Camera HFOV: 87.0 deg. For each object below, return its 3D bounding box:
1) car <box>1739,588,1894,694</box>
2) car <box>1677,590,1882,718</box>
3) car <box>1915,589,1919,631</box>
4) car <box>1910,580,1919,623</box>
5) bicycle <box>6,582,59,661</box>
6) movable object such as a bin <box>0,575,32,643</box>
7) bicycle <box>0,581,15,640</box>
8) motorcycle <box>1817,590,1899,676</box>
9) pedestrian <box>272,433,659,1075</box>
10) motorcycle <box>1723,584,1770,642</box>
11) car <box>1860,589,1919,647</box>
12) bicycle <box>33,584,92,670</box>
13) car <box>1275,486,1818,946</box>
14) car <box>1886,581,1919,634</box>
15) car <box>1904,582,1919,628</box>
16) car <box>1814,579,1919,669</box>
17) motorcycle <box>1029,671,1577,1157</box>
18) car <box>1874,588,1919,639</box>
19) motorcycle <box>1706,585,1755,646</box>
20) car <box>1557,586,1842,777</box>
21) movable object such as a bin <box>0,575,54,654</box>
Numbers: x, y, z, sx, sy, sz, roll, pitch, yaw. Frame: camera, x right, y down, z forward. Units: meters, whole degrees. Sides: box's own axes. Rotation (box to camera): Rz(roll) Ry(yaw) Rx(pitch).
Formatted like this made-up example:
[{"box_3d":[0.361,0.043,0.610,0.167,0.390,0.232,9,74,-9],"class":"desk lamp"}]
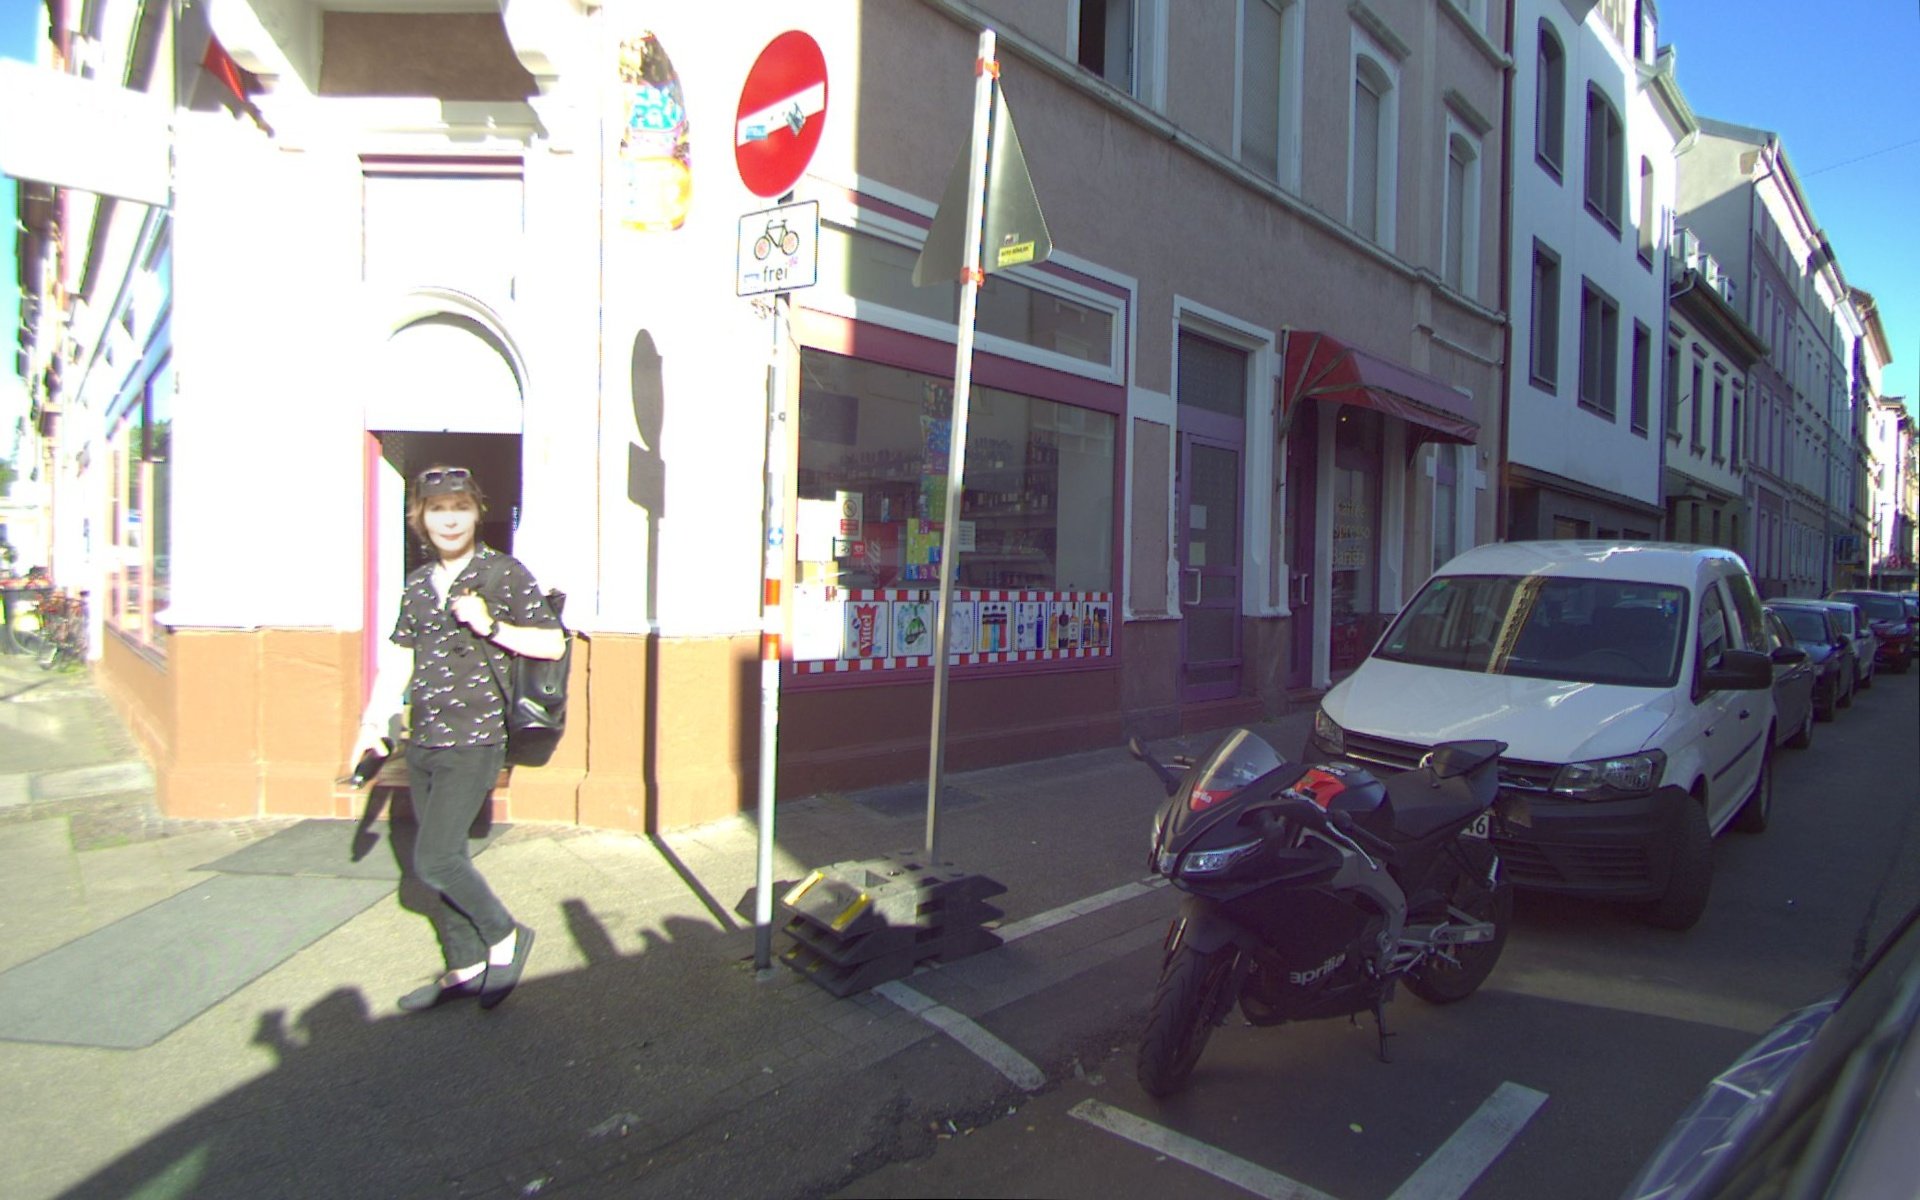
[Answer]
[{"box_3d":[14.508,0.596,17.078,3.711,1.522,1.617,-1,3,-45],"class":"car"},{"box_3d":[11.317,0.616,13.888,3.818,1.413,1.733,-1,3,-45],"class":"car"},{"box_3d":[48.729,0.466,50.161,1.993,2.039,4.493,0,0,43],"class":"car"},{"box_3d":[42.651,0.070,44.035,4.152,1.834,1.711,-1,3,-45],"class":"car"},{"box_3d":[-12.773,0.279,13.925,1.640,1.022,0.448,0,0,45],"class":"bicycle"},{"box_3d":[-16.354,0.158,17.350,0.656,1.147,0.671,-1,0,-43],"class":"movable object such as a bin"},{"box_3d":[-17.298,0.189,18.145,1.640,1.022,0.448,0,0,45],"class":"bicycle"},{"box_3d":[17.360,0.591,19.550,2.231,1.507,0.988,-1,3,-45],"class":"motorcycle"},{"box_3d":[-1.557,0.425,3.368,0.812,1.814,0.991,2,3,-2],"class":"pedestrian"},{"box_3d":[20.125,0.311,25.880,2.004,1.414,0.695,-1,0,-45],"class":"motorcycle"},{"box_3d":[26.025,0.457,27.852,3.818,1.413,1.610,-1,3,-45],"class":"car"},{"box_3d":[-11.371,0.310,12.810,1.640,1.022,0.448,1,1,45],"class":"bicycle"},{"box_3d":[3.806,0.398,6.174,4.298,1.839,1.750,-1,3,-45],"class":"car"},{"box_3d":[34.097,0.244,35.810,4.152,1.752,1.711,-1,3,-45],"class":"car"},{"box_3d":[38.968,0.197,40.350,4.152,1.752,1.711,-1,3,-45],"class":"car"},{"box_3d":[20.320,0.446,22.415,4.336,1.752,1.711,-1,3,-45],"class":"car"},{"box_3d":[1.233,0.872,3.457,1.958,1.100,0.721,-1,1,-33],"class":"motorcycle"},{"box_3d":[30.399,0.402,32.259,3.818,1.470,1.610,-1,3,-45],"class":"car"},{"box_3d":[18.551,0.341,24.357,2.004,1.414,0.666,-1,0,-45],"class":"motorcycle"},{"box_3d":[7.277,0.609,9.816,3.818,1.425,1.610,-1,3,-45],"class":"car"},{"box_3d":[-13.833,0.203,14.947,0.656,1.130,0.716,-1,0,-43],"class":"movable object such as a bin"}]
